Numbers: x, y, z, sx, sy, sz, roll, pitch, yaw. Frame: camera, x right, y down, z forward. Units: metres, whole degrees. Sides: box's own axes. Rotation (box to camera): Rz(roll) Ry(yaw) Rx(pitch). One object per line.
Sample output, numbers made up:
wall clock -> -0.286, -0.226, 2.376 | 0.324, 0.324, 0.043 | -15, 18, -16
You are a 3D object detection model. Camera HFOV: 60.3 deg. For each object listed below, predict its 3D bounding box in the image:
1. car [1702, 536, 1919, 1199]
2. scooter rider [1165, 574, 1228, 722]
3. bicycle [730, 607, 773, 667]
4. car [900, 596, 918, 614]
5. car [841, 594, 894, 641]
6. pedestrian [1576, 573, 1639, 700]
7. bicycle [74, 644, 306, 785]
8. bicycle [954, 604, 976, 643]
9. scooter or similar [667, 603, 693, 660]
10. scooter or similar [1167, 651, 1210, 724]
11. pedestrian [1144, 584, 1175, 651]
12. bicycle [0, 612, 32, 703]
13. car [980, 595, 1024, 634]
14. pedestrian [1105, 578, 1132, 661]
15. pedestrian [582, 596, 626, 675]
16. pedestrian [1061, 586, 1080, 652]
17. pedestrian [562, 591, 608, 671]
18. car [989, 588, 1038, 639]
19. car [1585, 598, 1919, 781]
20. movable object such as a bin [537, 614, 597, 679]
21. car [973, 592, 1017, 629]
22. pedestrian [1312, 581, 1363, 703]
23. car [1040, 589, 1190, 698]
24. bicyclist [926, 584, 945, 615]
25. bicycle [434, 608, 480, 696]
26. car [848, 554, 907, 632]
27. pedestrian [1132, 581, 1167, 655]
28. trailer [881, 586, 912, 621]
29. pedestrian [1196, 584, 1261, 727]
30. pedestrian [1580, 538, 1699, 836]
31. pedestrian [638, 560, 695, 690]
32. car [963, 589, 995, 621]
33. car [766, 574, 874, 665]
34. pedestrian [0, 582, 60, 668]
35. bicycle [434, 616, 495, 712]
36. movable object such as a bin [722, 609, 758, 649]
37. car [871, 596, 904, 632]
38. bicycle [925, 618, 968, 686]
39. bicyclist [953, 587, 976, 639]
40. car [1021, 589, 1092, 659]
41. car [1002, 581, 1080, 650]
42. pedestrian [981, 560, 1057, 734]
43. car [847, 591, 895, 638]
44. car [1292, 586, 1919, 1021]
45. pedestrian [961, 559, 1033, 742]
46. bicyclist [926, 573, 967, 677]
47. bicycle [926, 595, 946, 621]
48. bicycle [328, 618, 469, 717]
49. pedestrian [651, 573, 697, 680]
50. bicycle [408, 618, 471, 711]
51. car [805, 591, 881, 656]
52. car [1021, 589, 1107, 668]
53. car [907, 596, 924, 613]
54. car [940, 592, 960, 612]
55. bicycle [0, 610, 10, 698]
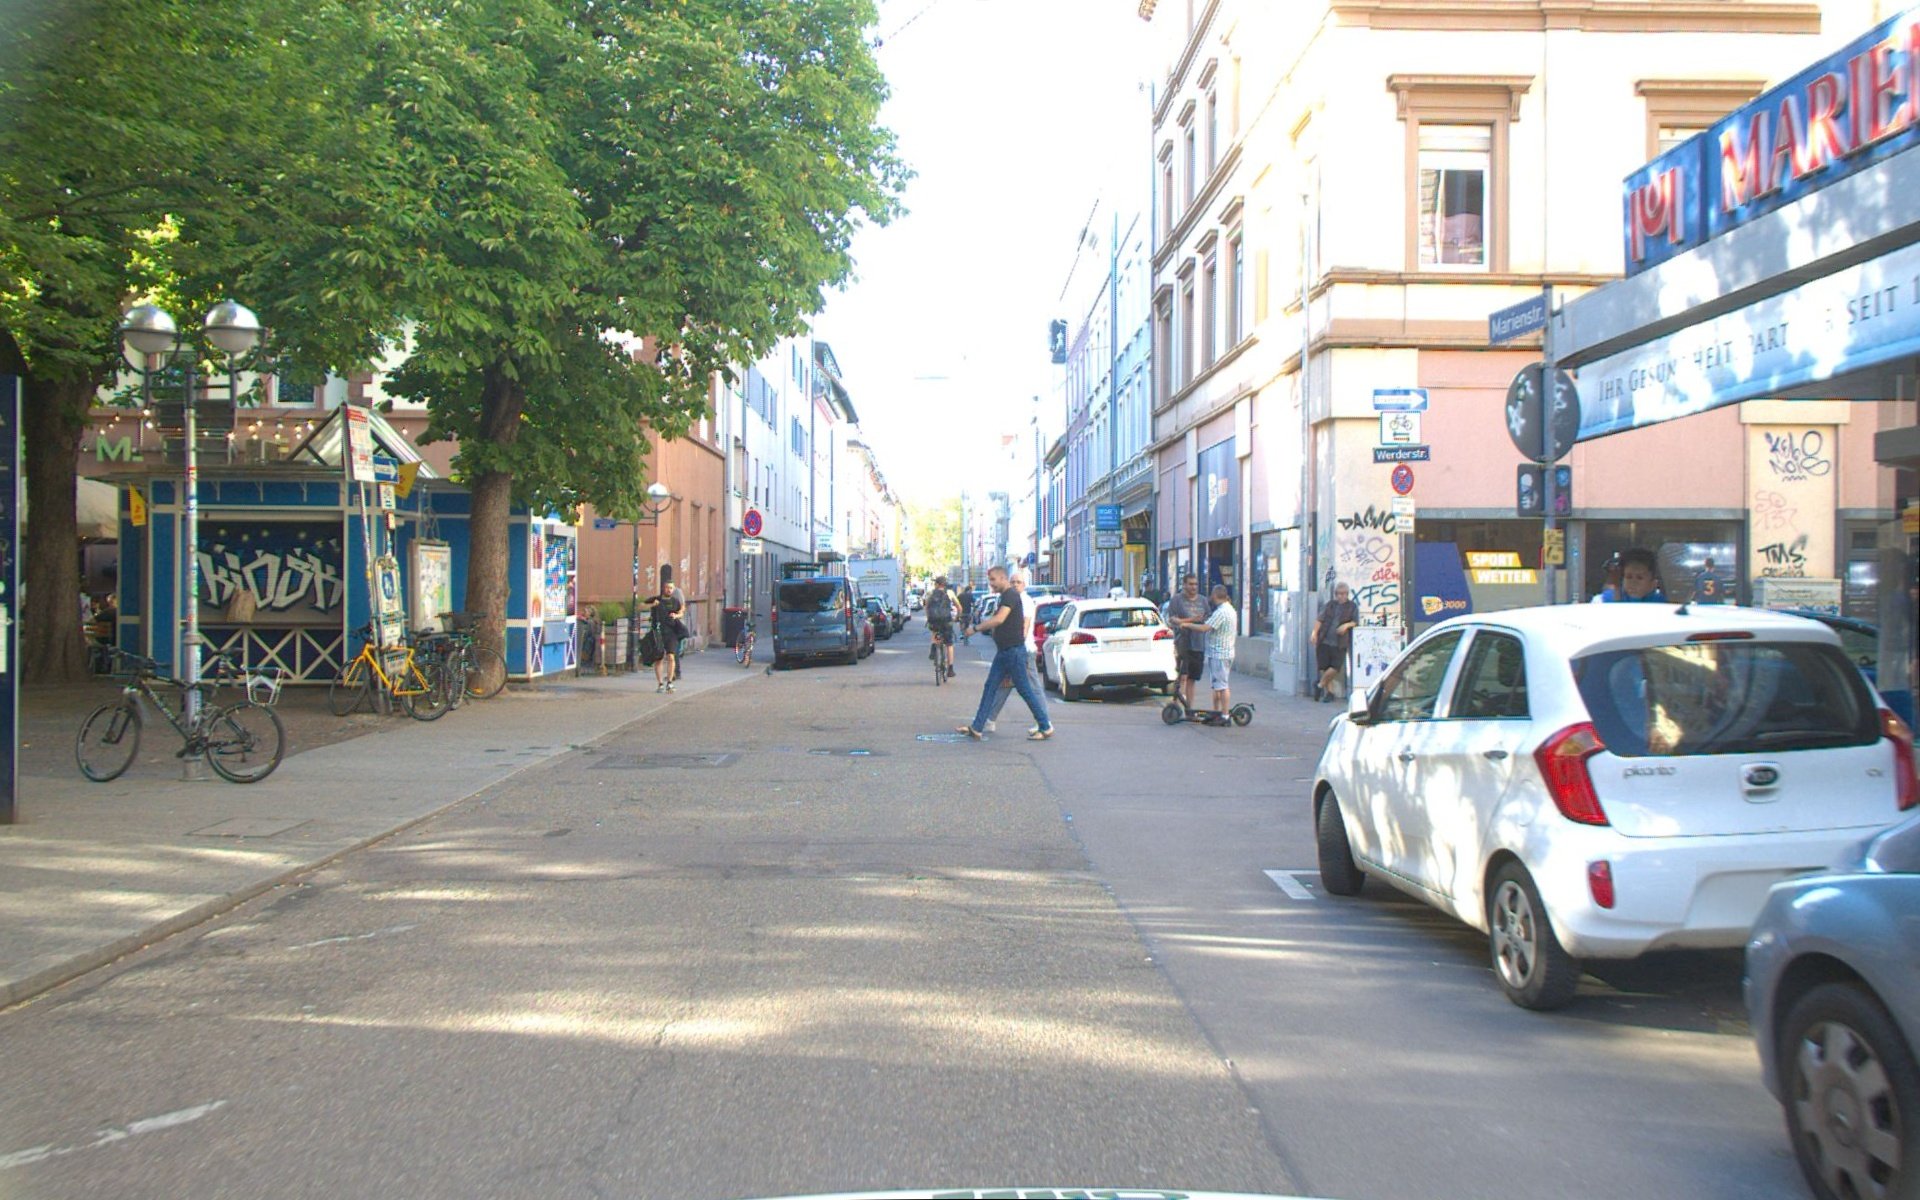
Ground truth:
car -> 3.015, 0.705, 2.691 | 1.666, 1.679, 4.062 | 1, 0, -2
scooter rider -> 2.955, 0.588, 20.654 | 0.553, 1.809, 0.609 | 1, -1, 34
bicycle -> -4.472, 0.786, 35.426 | 0.541, 1.238, 1.978 | 1, -1, -18
car -> -4.899, 0.477, 159.139 | 1.714, 1.713, 3.795 | -1, 0, -1
car -> -3.305, 0.614, 59.765 | 1.682, 1.504, 4.498 | -3, 1, -1
pedestrian -> 9.100, 0.511, 23.267 | 0.677, 1.756, 0.475 | 1, -1, -2
bicycle -> -6.181, 0.912, 13.316 | 1.656, 1.084, 0.346 | 1, -1, -3
bicycle -> 0.149, 0.721, 51.281 | 0.635, 1.149, 2.135 | 1, -1, -1
scooter or similar -> -6.191, 0.685, 36.607 | 0.340, 1.238, 1.391 | 1, -1, -1
scooter or similar -> 2.802, 1.068, 20.346 | 0.385, 0.843, 0.925 | 1, -1, 0
pedestrian -> 4.697, 0.419, 39.033 | 0.576, 1.556, 0.658 | 1, -1, -6
bicycle -> -12.091, 0.740, 20.409 | 0.224, 1.110, 1.937 | 1, 2, -1
car -> 1.755, 0.610, 70.797 | 1.652, 1.570, 4.045 | -2, 0, -1
pedestrian -> 3.432, 0.426, 35.898 | 0.549, 1.771, 0.428 | 1, -1, 5
pedestrian -> -6.740, 0.668, 31.327 | 0.691, 1.471, 0.617 | 1, -1, -2
pedestrian -> 2.916, 0.494, 43.777 | 0.432, 1.734, 0.654 | 1, -1, -1
pedestrian -> -6.949, 0.571, 30.655 | 0.691, 1.471, 0.617 | 1, -1, -2
car -> 1.912, 0.492, 60.005 | 1.525, 1.742, 3.557 | 1, -1, -1
car -> 7.588, 0.740, 14.574 | 3.501, 1.512, 1.788 | 0, 0, -1
movable object such as a bin -> -6.897, 0.814, 29.043 | 0.852, 1.105, 0.774 | 1, -1, 0
car -> 1.644, 0.478, 79.050 | 1.879, 1.736, 4.365 | 0, 0, -1
pedestrian -> 5.310, 0.581, 23.275 | 0.588, 1.678, 0.464 | 1, 2, 30
car -> 2.351, 0.650, 26.071 | 1.751, 1.542, 4.134 | 1, 0, -3
bicyclist -> -1.293, -0.028, 88.441 | 0.931, 1.656, 0.953 | -2, 0, 0
bicycle -> -7.057, 0.705, 23.247 | 0.488, 1.151, 2.030 | 1, 0, -14
car -> -3.754, -0.279, 76.309 | 2.296, 3.349, 7.153 | -2, 0, 0
pedestrian -> 4.554, 0.429, 39.802 | 0.618, 1.771, 0.656 | 1, -1, -14
trailer -> -4.039, 0.221, 105.633 | 1.844, 2.129, 3.736 | -1, 0, -1
pedestrian -> 3.204, 0.656, 19.720 | 0.519, 1.667, 0.561 | 0, -1, 43
pedestrian -> 4.532, 0.568, 11.049 | 0.550, 1.927, 0.530 | 1, -1, -2
pedestrian -> -4.377, 0.368, 24.701 | 0.702, 1.906, 0.720 | 1, -1, -2
car -> 1.175, 0.339, 102.523 | 1.715, 1.911, 3.970 | -1, 0, -3
car -> -3.163, 0.402, 38.355 | 1.979, 1.912, 5.297 | 1, 0, 0
pedestrian -> -14.858, 0.398, 26.322 | 0.682, 1.344, 0.613 | 1, -1, 7
bicycle -> -6.111, 0.770, 20.457 | 0.286, 1.101, 1.578 | 1, 1, -1
movable object such as a bin -> -6.027, 0.789, 45.241 | 0.743, 1.085, 0.652 | 1, -1, 19
car -> -3.948, 0.750, 90.617 | 1.717, 1.848, 4.077 | -2, 0, -2
bicycle -> -0.239, 0.861, 27.899 | 0.663, 1.093, 1.941 | 1, -1, -1
bicyclist -> 0.144, 0.411, 51.204 | 0.657, 1.595, 0.716 | 1, -1, -1
car -> 2.352, 0.576, 40.792 | 1.537, 1.584, 3.314 | -3, -1, 1
car -> 2.229, 0.437, 46.539 | 1.860, 1.825, 4.314 | 1, 0, -1
pedestrian -> 0.645, 0.509, 18.249 | 0.746, 1.867, 0.688 | 1, -1, -3
car -> -3.484, 0.544, 65.367 | 1.682, 1.679, 4.245 | -3, 1, -1
car -> 2.822, 0.726, 7.561 | 1.656, 1.488, 3.638 | 1, 0, -4
pedestrian -> 0.376, 0.507, 17.291 | 0.680, 1.857, 1.002 | 0, 0, -3
bicyclist -> -0.236, 0.412, 27.905 | 0.654, 1.706, 1.097 | 1, -1, -1
bicycle -> -1.282, 0.433, 88.702 | 0.957, 1.337, 2.555 | -1, 0, 0
bicycle -> -6.494, 0.773, 19.133 | 1.540, 1.101, 0.347 | 1, -1, 10
pedestrian -> -5.111, 0.471, 29.602 | 0.633, 1.866, 0.697 | 2, -1, -1
bicycle -> -6.425, 0.776, 20.454 | 0.286, 1.064, 1.578 | 1, 1, -1
car -> -3.041, 0.621, 43.763 | 1.715, 1.548, 3.868 | -3, -1, -1
car -> 2.225, 0.601, 36.136 | 1.574, 1.600, 3.552 | 1, 0, -1
car -> -4.724, 0.480, 176.053 | 1.714, 1.853, 3.795 | -1, 0, -1
car -> -0.843, 0.165, 136.137 | 1.578, 1.587, 3.609 | 0, 0, -1
bicycle -> -12.361, 0.728, 20.400 | 0.224, 1.110, 1.937 | 1, 2, -1
